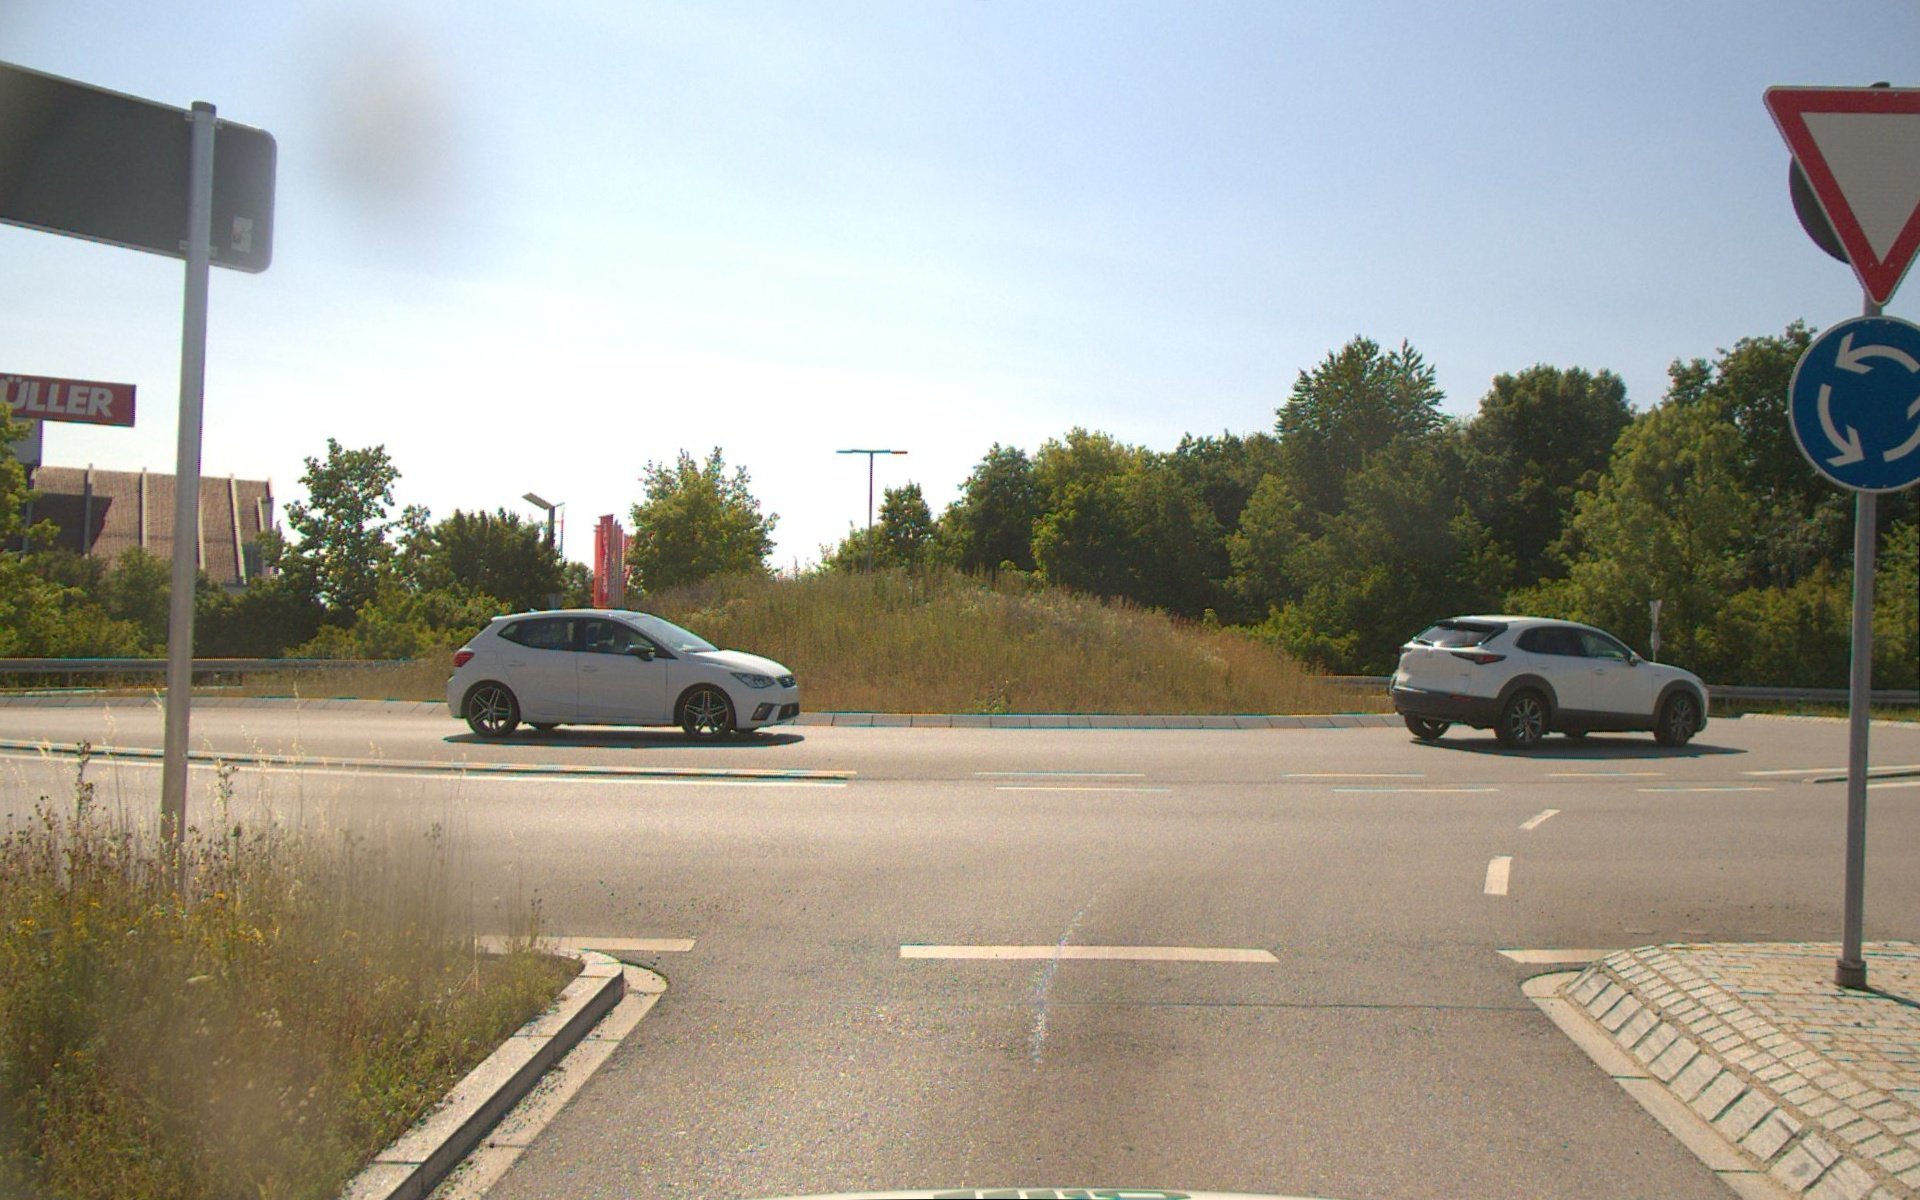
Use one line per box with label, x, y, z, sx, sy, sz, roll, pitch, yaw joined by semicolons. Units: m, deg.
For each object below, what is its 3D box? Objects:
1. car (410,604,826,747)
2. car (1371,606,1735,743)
car;-3.884;0.833;19.135;4.308;1.430;1.793;2;-1;9
car;7.348;0.905;20.481;4.217;1.557;1.778;1;-1;-24
